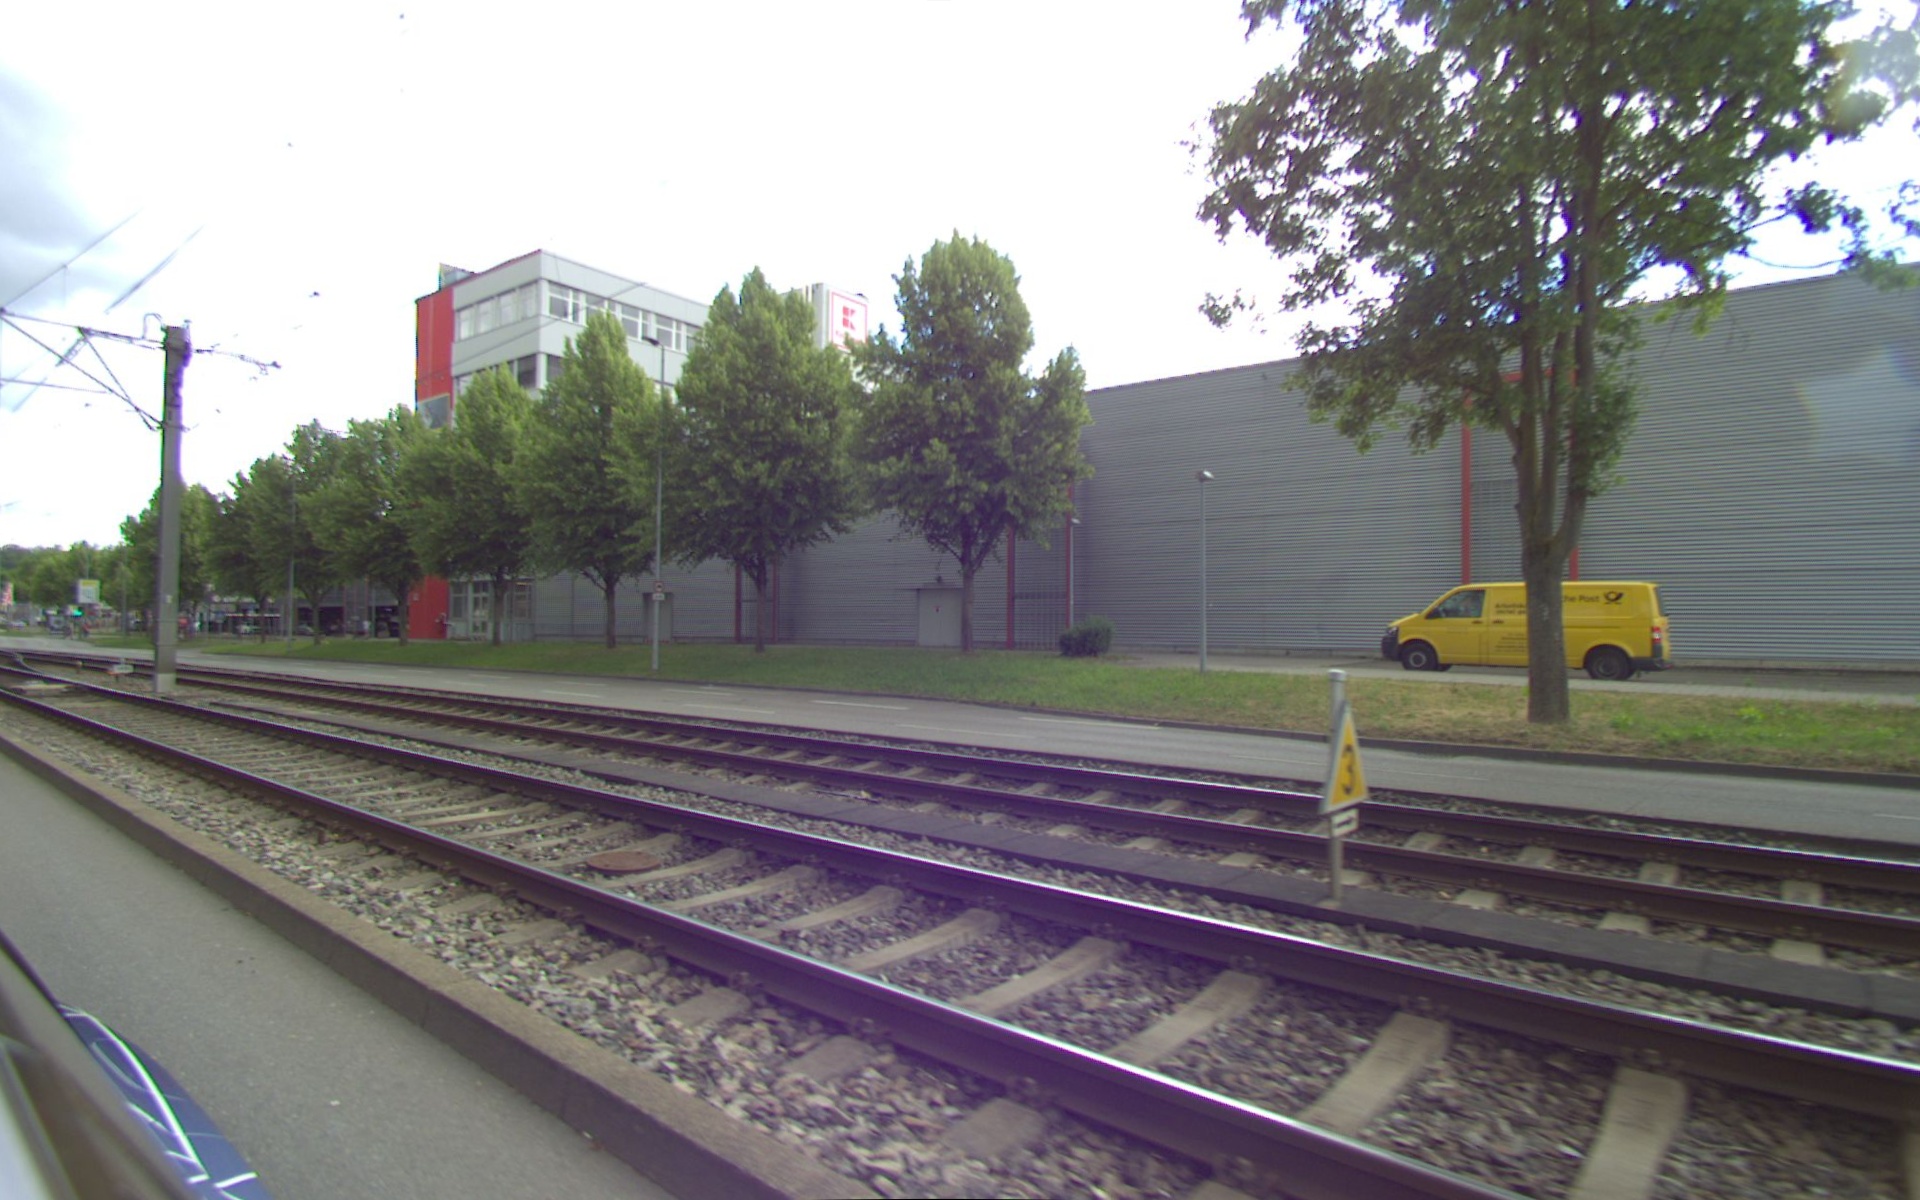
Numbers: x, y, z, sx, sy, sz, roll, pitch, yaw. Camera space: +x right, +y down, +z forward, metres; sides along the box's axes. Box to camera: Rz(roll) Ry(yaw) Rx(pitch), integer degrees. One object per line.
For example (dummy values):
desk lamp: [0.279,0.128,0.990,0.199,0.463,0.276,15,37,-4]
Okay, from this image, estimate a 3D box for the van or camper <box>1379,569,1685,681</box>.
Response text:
van or camper: [11.640,0.514,20.807,5.235,2.029,2.083,-1,-2,38]

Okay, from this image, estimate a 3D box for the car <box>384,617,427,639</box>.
car: [-52.319,2.594,95.488,4.399,2.029,1.975,-1,-2,38]

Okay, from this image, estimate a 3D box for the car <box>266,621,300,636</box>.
car: [-77.491,3.261,115.833,4.399,1.712,1.975,-1,-2,38]
